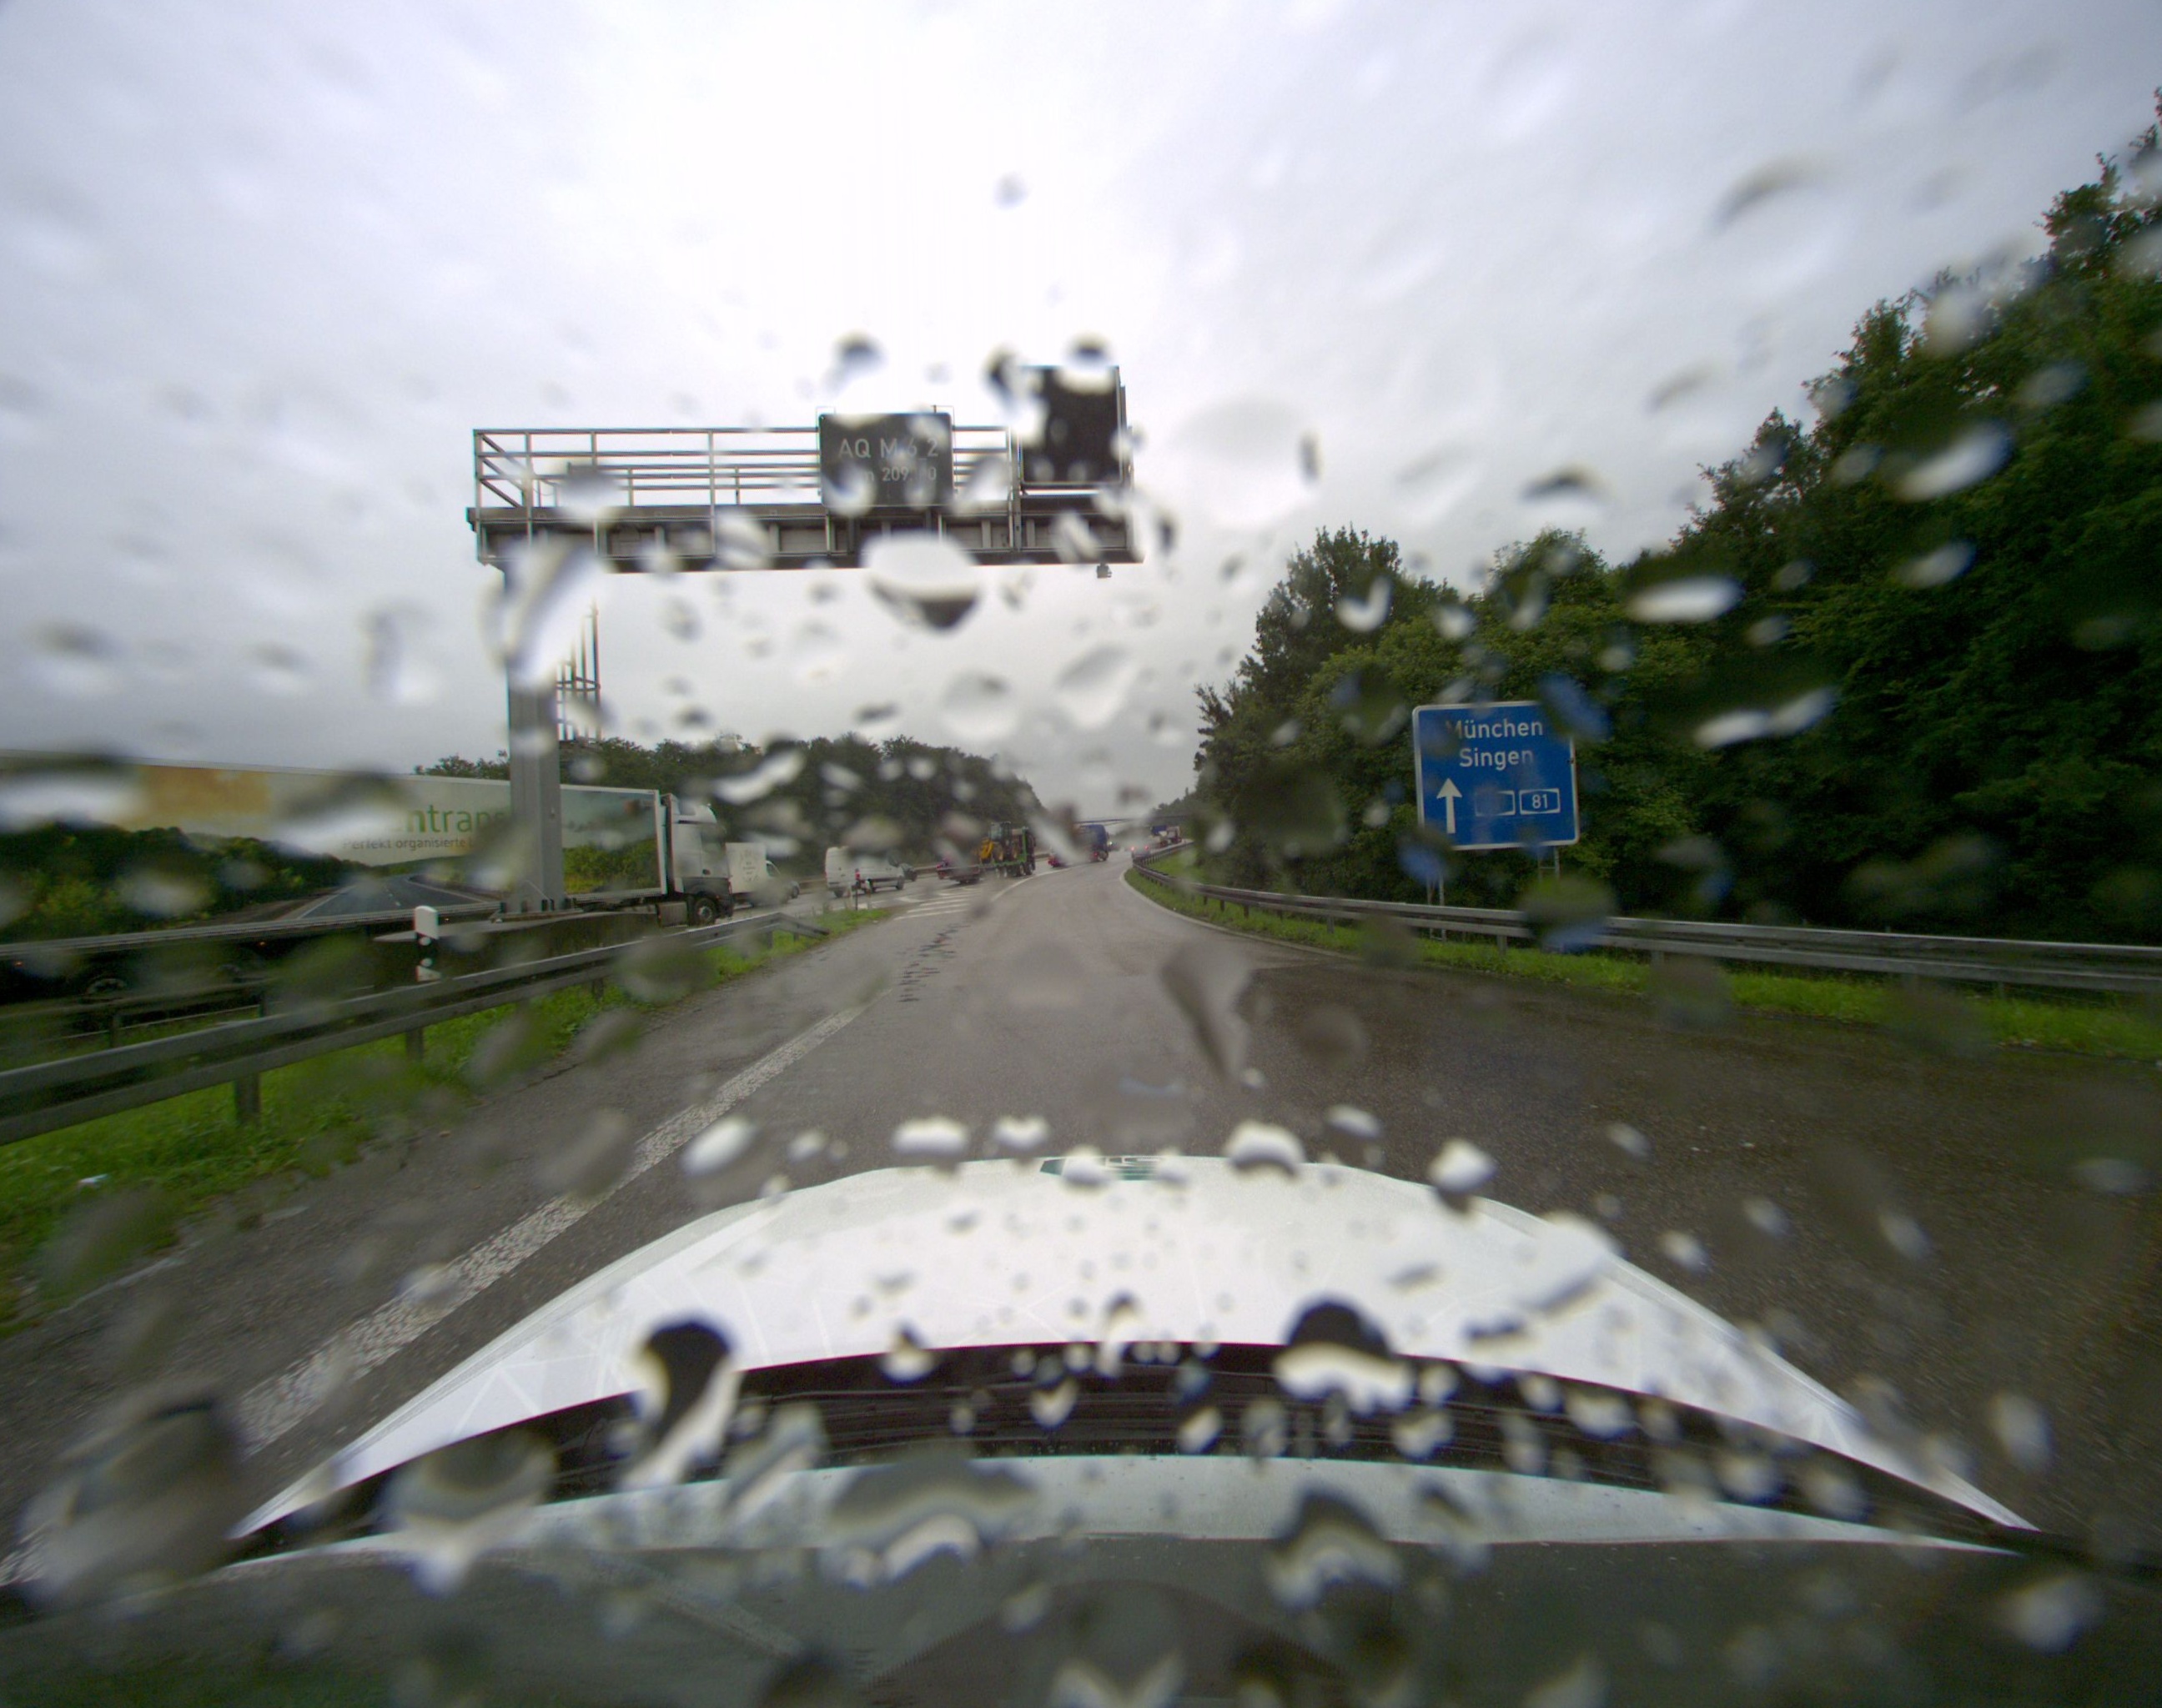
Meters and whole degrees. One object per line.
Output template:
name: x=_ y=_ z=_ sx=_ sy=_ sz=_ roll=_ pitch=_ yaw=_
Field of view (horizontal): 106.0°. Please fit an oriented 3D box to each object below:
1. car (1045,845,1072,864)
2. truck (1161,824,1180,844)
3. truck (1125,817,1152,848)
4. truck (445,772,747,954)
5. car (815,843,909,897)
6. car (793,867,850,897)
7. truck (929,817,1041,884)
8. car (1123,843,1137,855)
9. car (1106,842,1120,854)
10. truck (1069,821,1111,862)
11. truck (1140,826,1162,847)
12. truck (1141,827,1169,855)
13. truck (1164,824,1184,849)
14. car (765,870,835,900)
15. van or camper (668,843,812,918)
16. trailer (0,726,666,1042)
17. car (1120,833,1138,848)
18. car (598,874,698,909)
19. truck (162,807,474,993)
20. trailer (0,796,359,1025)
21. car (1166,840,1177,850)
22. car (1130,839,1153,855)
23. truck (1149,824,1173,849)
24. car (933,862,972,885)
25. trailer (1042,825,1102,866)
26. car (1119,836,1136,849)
car: x=-2.291 y=0.054 z=84.891 sx=1.807 sy=1.766 sz=4.013 roll=-3 pitch=1 yaw=12
truck: x=19.157 y=-4.117 z=174.243 sx=3.734 sy=3.970 sz=11.083 roll=-1 pitch=0 yaw=7
truck: x=10.772 y=-3.859 z=151.416 sx=3.730 sy=5.499 sz=10.204 roll=-1 pitch=0 yaw=11
truck: x=-12.766 y=0.195 z=22.326 sx=2.896 sy=4.099 sz=6.747 roll=-4 pitch=0 yaw=15
car: x=-11.852 y=0.796 z=44.672 sx=2.199 sy=2.629 sz=5.867 roll=-4 pitch=0 yaw=14
car: x=-18.000 y=1.915 z=56.618 sx=1.763 sy=1.706 sz=4.016 roll=-4 pitch=0 yaw=14
truck: x=-5.736 y=-0.342 z=51.855 sx=2.811 sy=3.588 sz=11.844 roll=-5 pitch=0 yaw=14
car: x=7.875 y=-0.761 z=130.293 sx=1.787 sy=1.904 sz=4.011 roll=-1 pitch=0 yaw=10
car: x=5.539 y=-0.986 z=140.686 sx=1.786 sy=1.903 sz=4.012 roll=-4 pitch=-1 yaw=11
truck: x=0.971 y=-1.298 z=81.074 sx=2.856 sy=3.693 sz=5.076 roll=-4 pitch=1 yaw=14
truck: x=15.637 y=-3.882 z=181.509 sx=3.554 sy=4.095 sz=10.912 roll=-4 pitch=-1 yaw=11
truck: x=12.433 y=-2.223 z=135.659 sx=3.579 sy=4.104 sz=11.591 roll=-4 pitch=1 yaw=9
truck: x=22.573 y=-4.202 z=197.399 sx=4.311 sy=5.763 sz=9.754 roll=-1 pitch=0 yaw=9
car: x=-17.716 y=1.918 z=51.597 sx=1.853 sy=1.522 sz=4.648 roll=-4 pitch=0 yaw=14
van or camper: x=-16.532 y=1.162 z=40.144 sx=2.561 sy=3.203 sz=7.158 roll=-4 pitch=0 yaw=14
trailer: x=-14.552 y=0.406 z=15.726 sx=2.896 sy=4.205 sz=13.693 roll=-4 pitch=0 yaw=15
car: x=10.022 y=-2.730 z=170.636 sx=3.077 sy=3.002 sz=6.790 roll=-1 pitch=0 yaw=9
car: x=-22.484 y=1.922 z=42.536 sx=1.731 sy=1.424 sz=4.853 roll=-4 pitch=0 yaw=14
truck: x=-18.143 y=0.970 z=19.752 sx=2.608 sy=3.863 sz=4.606 roll=-4 pitch=0 yaw=14
trailer: x=-19.905 y=1.076 z=12.641 sx=2.608 sy=3.863 sz=13.729 roll=-4 pitch=0 yaw=14
car: x=17.745 y=-1.756 z=159.904 sx=1.787 sy=1.903 sz=4.011 roll=-4 pitch=-1 yaw=10
car: x=6.414 y=-0.705 z=86.314 sx=1.981 sy=1.636 sz=4.012 roll=-1 pitch=0 yaw=10
truck: x=14.956 y=-3.144 z=151.815 sx=3.486 sy=4.268 sz=10.632 roll=-1 pitch=0 yaw=10
car: x=-10.392 y=1.567 z=65.935 sx=1.774 sy=1.727 sz=4.013 roll=-1 pitch=0 yaw=12
trailer: x=-0.628 y=-0.864 z=74.441 sx=2.853 sy=3.288 sz=10.117 roll=-4 pitch=1 yaw=14
car: x=11.350 y=-2.712 z=199.681 sx=3.226 sy=3.002 sz=6.793 roll=-1 pitch=0 yaw=11
